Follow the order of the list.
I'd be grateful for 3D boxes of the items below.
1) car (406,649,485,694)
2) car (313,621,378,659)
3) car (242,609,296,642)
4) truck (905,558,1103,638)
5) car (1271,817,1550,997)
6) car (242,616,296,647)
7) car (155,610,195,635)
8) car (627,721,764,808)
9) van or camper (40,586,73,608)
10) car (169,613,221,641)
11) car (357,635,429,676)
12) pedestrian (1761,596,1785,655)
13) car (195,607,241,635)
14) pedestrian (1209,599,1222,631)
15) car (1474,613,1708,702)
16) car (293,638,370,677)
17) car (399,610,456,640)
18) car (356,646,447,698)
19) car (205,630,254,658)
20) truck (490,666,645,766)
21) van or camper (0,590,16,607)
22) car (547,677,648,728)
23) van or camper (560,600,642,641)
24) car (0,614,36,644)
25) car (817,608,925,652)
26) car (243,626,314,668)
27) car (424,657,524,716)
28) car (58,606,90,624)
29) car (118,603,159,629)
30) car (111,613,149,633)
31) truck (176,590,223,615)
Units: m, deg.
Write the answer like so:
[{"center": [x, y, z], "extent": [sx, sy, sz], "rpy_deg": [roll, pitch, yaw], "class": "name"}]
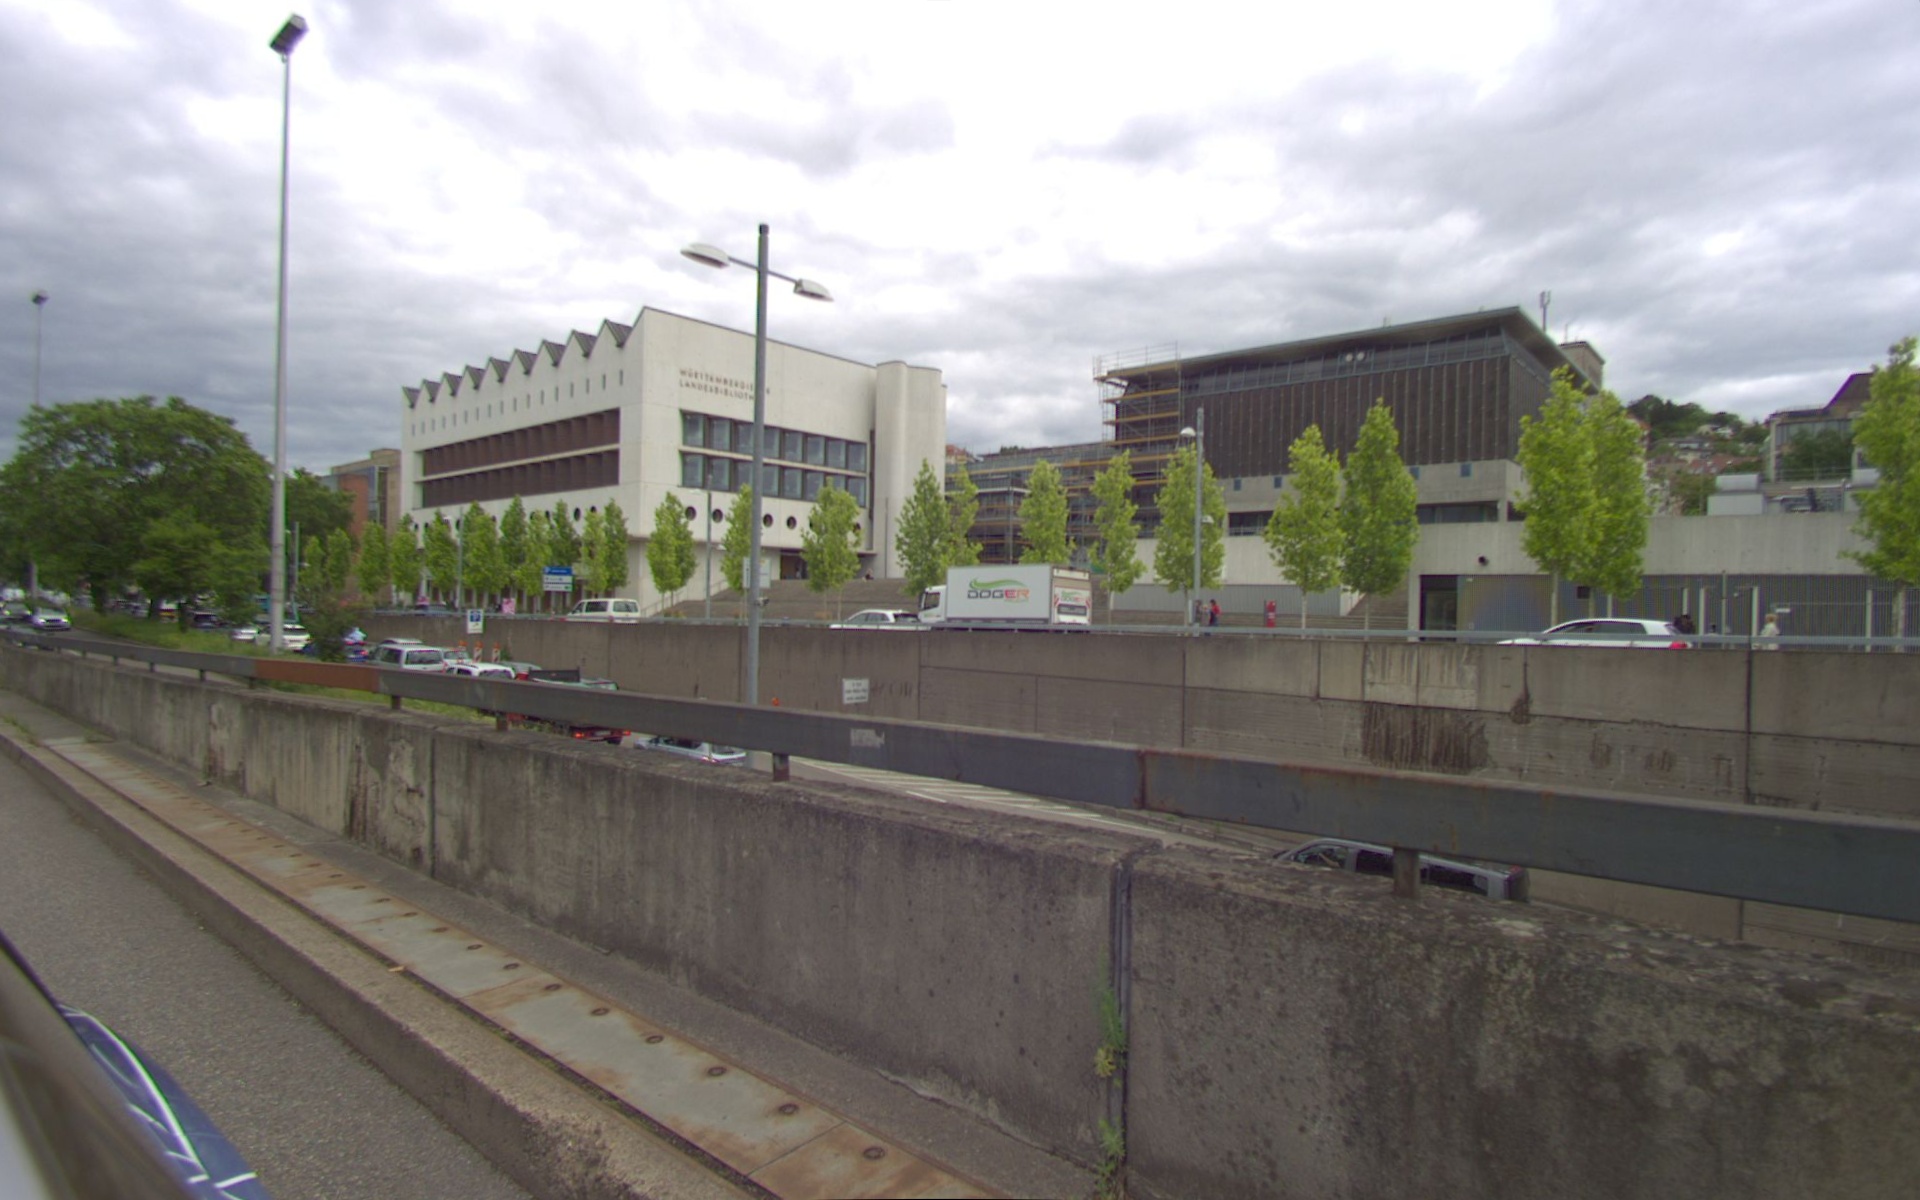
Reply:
[{"center": [-24.751, 3.406, 48.650], "extent": [3.999, 2.029, 1.972], "rpy_deg": [-1, -4, 42], "class": "car"}, {"center": [-34.577, 2.255, 56.949], "extent": [3.999, 2.029, 1.972], "rpy_deg": [-1, -4, 42], "class": "car"}, {"center": [-46.201, 1.718, 67.644], "extent": [3.999, 2.029, 1.972], "rpy_deg": [-1, -4, 42], "class": "car"}, {"center": [1.607, 0.024, 39.380], "extent": [7.248, 2.809, 3.198], "rpy_deg": [-2, -1, 40], "class": "truck"}, {"center": [8.080, 5.370, 18.345], "extent": [4.227, 1.970, 1.973], "rpy_deg": [-1, 0, 41], "class": "car"}, {"center": [-46.787, 2.126, 68.521], "extent": [4.654, 2.029, 1.972], "rpy_deg": [-2, -1, 42], "class": "car"}, {"center": [-67.594, 1.961, 87.137], "extent": [3.999, 2.029, 1.972], "rpy_deg": [-1, -4, 42], "class": "car"}, {"center": [-7.419, 4.501, 28.215], "extent": [3.925, 1.829, 1.771], "rpy_deg": [-2, -1, 41], "class": "car"}, {"center": [-89.907, -0.293, 100.700], "extent": [3.999, 2.029, 2.010], "rpy_deg": [-2, -1, 42], "class": "van or camper"}, {"center": [-49.421, 1.738, 65.360], "extent": [3.999, 1.672, 1.972], "rpy_deg": [-1, -1, 42], "class": "car"}, {"center": [-29.456, 2.861, 52.529], "extent": [3.999, 2.029, 1.972], "rpy_deg": [-1, -4, 42], "class": "car"}, {"center": [21.377, 0.664, 26.613], "extent": [0.461, 1.533, 0.424], "rpy_deg": [-1, 0, 35], "class": "pedestrian"}, {"center": [-56.818, 1.615, 77.486], "extent": [3.999, 2.029, 1.972], "rpy_deg": [-1, -4, 42], "class": "car"}, {"center": [12.302, 0.739, 48.749], "extent": [0.461, 1.533, 0.377], "rpy_deg": [-1, -1, 35], "class": "pedestrian"}, {"center": [14.422, 1.269, 23.256], "extent": [4.256, 1.829, 1.972], "rpy_deg": [-2, -1, 42], "class": "car"}, {"center": [-30.374, 2.763, 48.855], "extent": [4.280, 1.757, 1.972], "rpy_deg": [-1, -4, 42], "class": "car"}, {"center": [-34.077, 1.614, 64.698], "extent": [3.999, 1.829, 1.972], "rpy_deg": [-2, -1, 42], "class": "car"}, {"center": [-23.707, 3.021, 42.934], "extent": [4.331, 2.029, 1.972], "rpy_deg": [-1, -4, 42], "class": "car"}, {"center": [-42.850, 2.550, 59.346], "extent": [3.360, 1.497, 1.653], "rpy_deg": [-1, -1, 42], "class": "car"}, {"center": [-12.938, 3.656, 33.138], "extent": [5.977, 2.711, 2.294], "rpy_deg": [-2, -1, 42], "class": "truck"}, {"center": [-115.995, -0.158, 122.679], "extent": [3.999, 2.029, 2.010], "rpy_deg": [-2, -1, 42], "class": "van or camper"}, {"center": [-14.014, 3.894, 38.996], "extent": [3.998, 1.563, 1.973], "rpy_deg": [-1, 0, 41], "class": "car"}, {"center": [-18.367, 1.063, 51.677], "extent": [4.555, 2.029, 1.972], "rpy_deg": [-2, -1, 42], "class": "van or camper"}, {"center": [-69.189, 2.092, 74.026], "extent": [3.999, 2.029, 1.972], "rpy_deg": [1, -1, 42], "class": "car"}, {"center": [-3.451, 1.141, 38.787], "extent": [4.270, 1.586, 1.700], "rpy_deg": [-2, -1, 43], "class": "car"}, {"center": [-36.754, 2.509, 54.529], "extent": [4.850, 2.148, 1.972], "rpy_deg": [-1, -4, 42], "class": "car"}, {"center": [-18.509, 3.238, 38.456], "extent": [3.999, 2.029, 1.972], "rpy_deg": [-1, -4, 42], "class": "car"}, {"center": [-77.212, 1.325, 88.190], "extent": [3.360, 1.497, 1.653], "rpy_deg": [-2, -1, 42], "class": "car"}, {"center": [-68.646, 1.332, 84.559], "extent": [3.998, 2.029, 1.973], "rpy_deg": [-1, 0, 41], "class": "car"}, {"center": [-61.985, 1.717, 75.562], "extent": [3.360, 1.497, 1.653], "rpy_deg": [-2, -1, 42], "class": "car"}, {"center": [-70.925, 0.242, 94.361], "extent": [5.607, 2.174, 1.979], "rpy_deg": [-1, -1, 36], "class": "truck"}]
